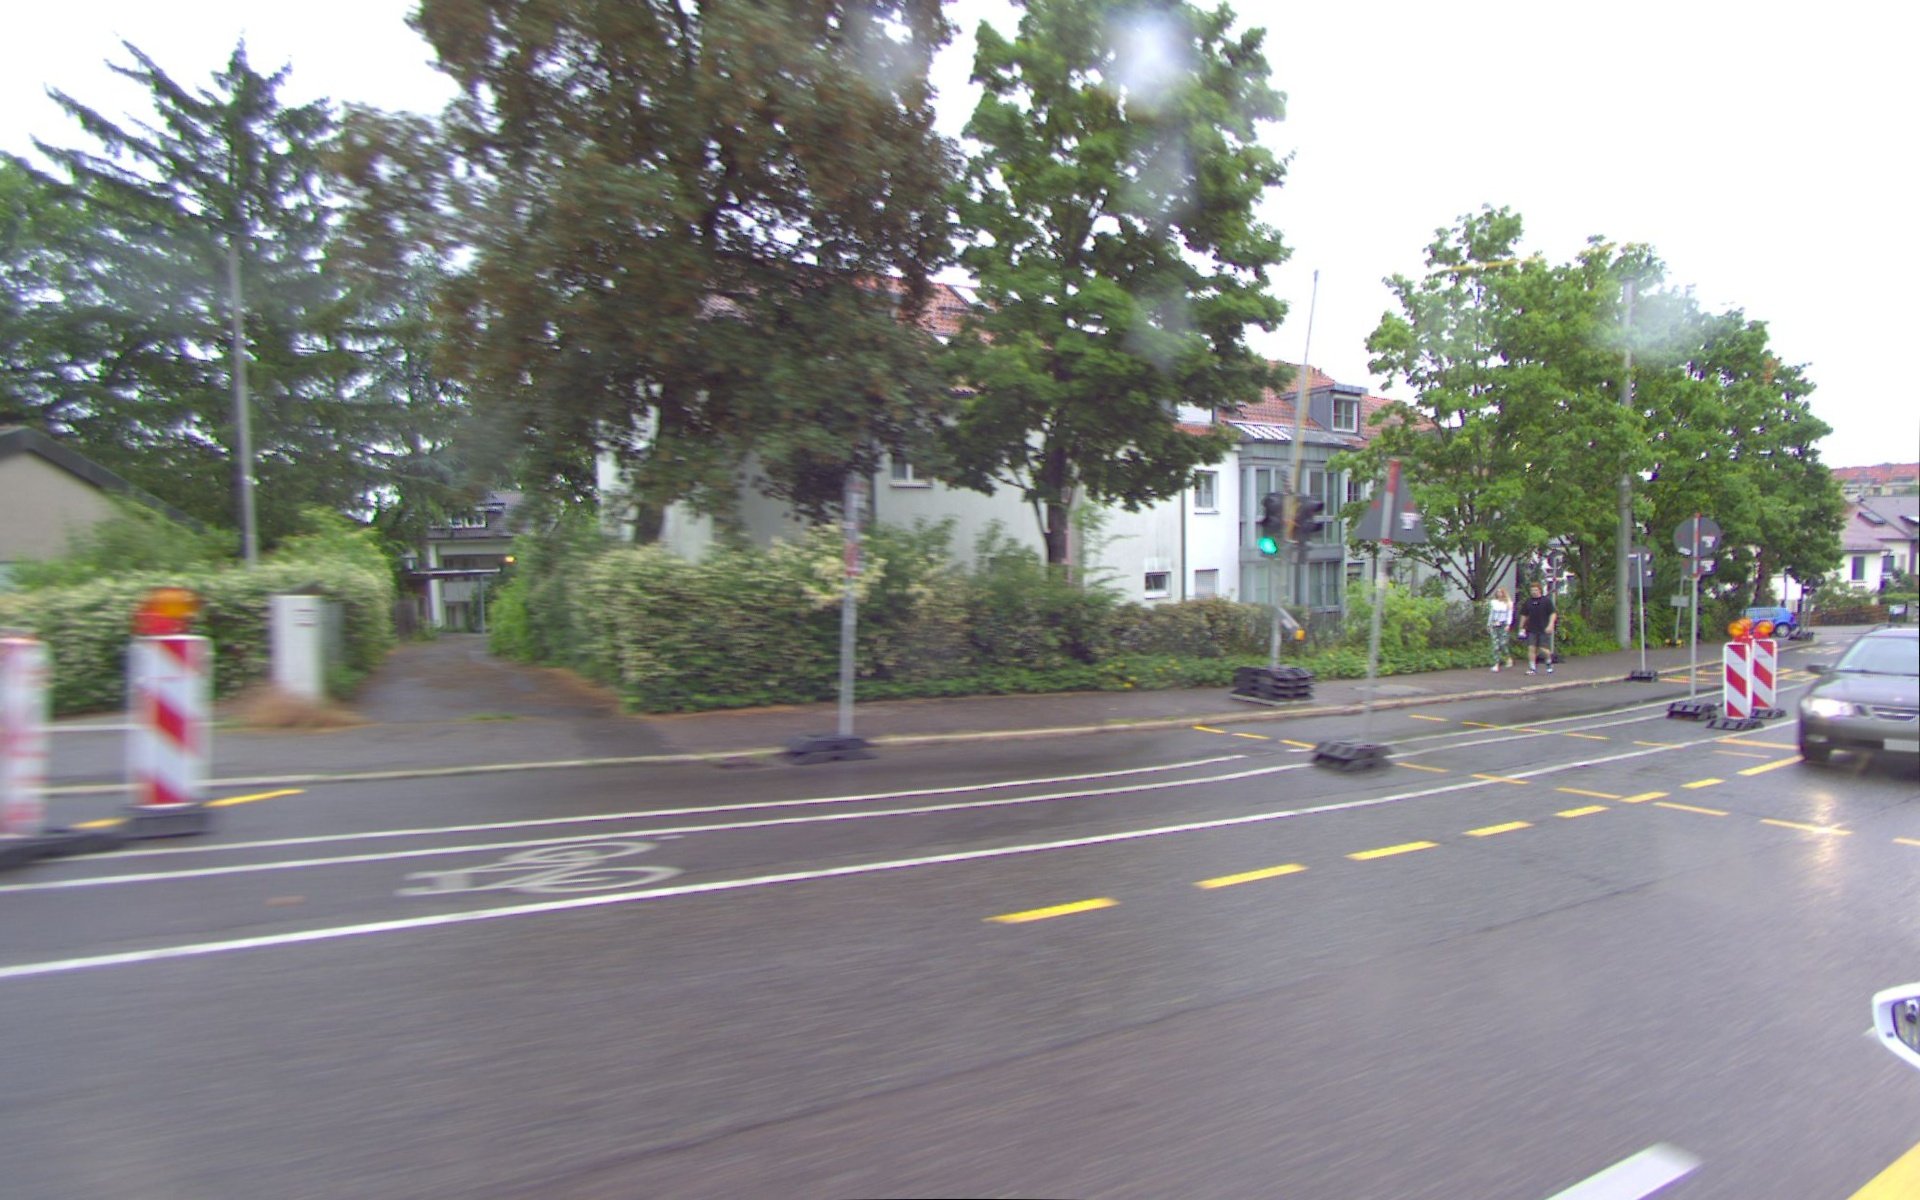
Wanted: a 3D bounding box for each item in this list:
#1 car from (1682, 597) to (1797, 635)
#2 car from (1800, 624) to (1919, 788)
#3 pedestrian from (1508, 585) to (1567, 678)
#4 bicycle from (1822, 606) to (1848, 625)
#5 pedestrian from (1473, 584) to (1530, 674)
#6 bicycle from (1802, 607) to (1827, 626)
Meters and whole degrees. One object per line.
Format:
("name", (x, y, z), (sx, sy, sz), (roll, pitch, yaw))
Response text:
("car", (37.277, 0.739, 48.132), (3.862, 1.688, 1.843), (2, 1, 13))
("car", (10.800, 1.056, 11.131), (4.648, 1.480, 1.683), (0, 0, -42))
("pedestrian", (11.974, 0.630, 20.811), (1.138, 1.841, 0.701), (-2, 3, -42))
("bicycle", (49.850, 0.917, 57.229), (0.299, 1.048, 1.303), (2, -2, -2))
("pedestrian", (11.504, 0.588, 21.343), (1.146, 1.841, 0.674), (-2, 3, -42))
("bicycle", (49.868, 0.972, 58.641), (0.299, 1.048, 1.328), (2, -2, 0))
